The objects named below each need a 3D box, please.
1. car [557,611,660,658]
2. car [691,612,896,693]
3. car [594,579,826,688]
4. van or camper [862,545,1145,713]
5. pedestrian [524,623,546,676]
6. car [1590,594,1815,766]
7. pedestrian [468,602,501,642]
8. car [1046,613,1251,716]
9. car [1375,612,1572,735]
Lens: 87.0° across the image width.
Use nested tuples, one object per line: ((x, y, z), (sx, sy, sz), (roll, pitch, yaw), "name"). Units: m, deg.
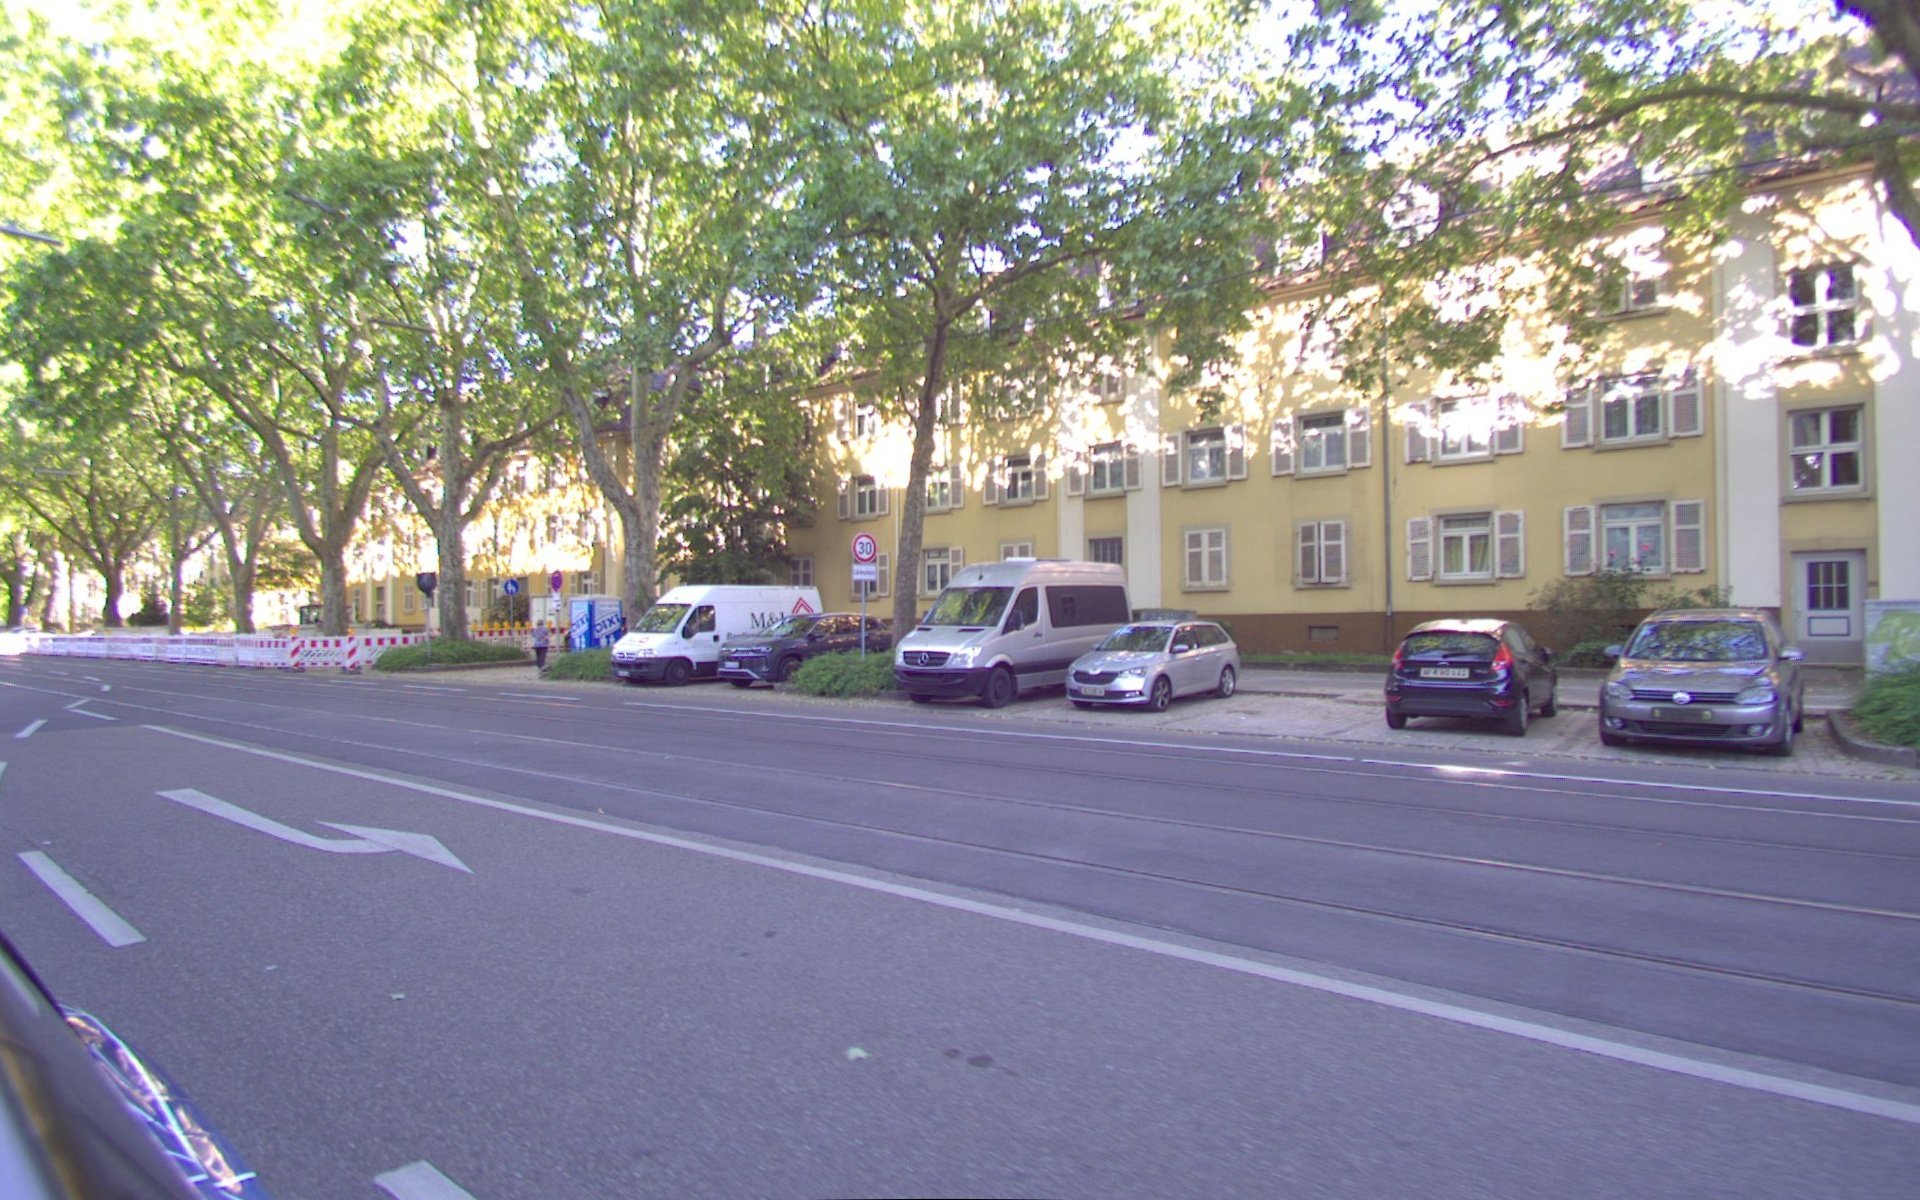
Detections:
((-13.236, 1.275, 38.024), (4.219, 1.613, 1.806), (-2, 0, 41), "car")
((-3.697, 1.127, 23.242), (1.967, 1.643, 4.519), (-2, -1, 38), "car")
((-6.043, 0.796, 25.171), (2.023, 2.393, 5.542), (-2, -2, 38), "car")
((1.060, 0.475, 19.342), (2.227, 2.697, 6.051), (-2, -1, 39), "van or camper")
((-13.196, 1.526, 31.411), (0.586, 1.585, 0.719), (0, -2, -27), "pedestrian")
((9.083, 0.806, 12.232), (1.814, 1.617, 4.145), (-2, 0, 41), "car")
((-24.480, 1.156, 52.097), (1.233, 2.029, 1.085), (-2, -2, 36), "pedestrian")
((3.407, 1.023, 17.749), (1.729, 1.481, 4.102), (0, 1, 40), "car")
((7.261, 0.922, 14.154), (1.741, 1.440, 3.528), (-2, -1, 39), "car")
